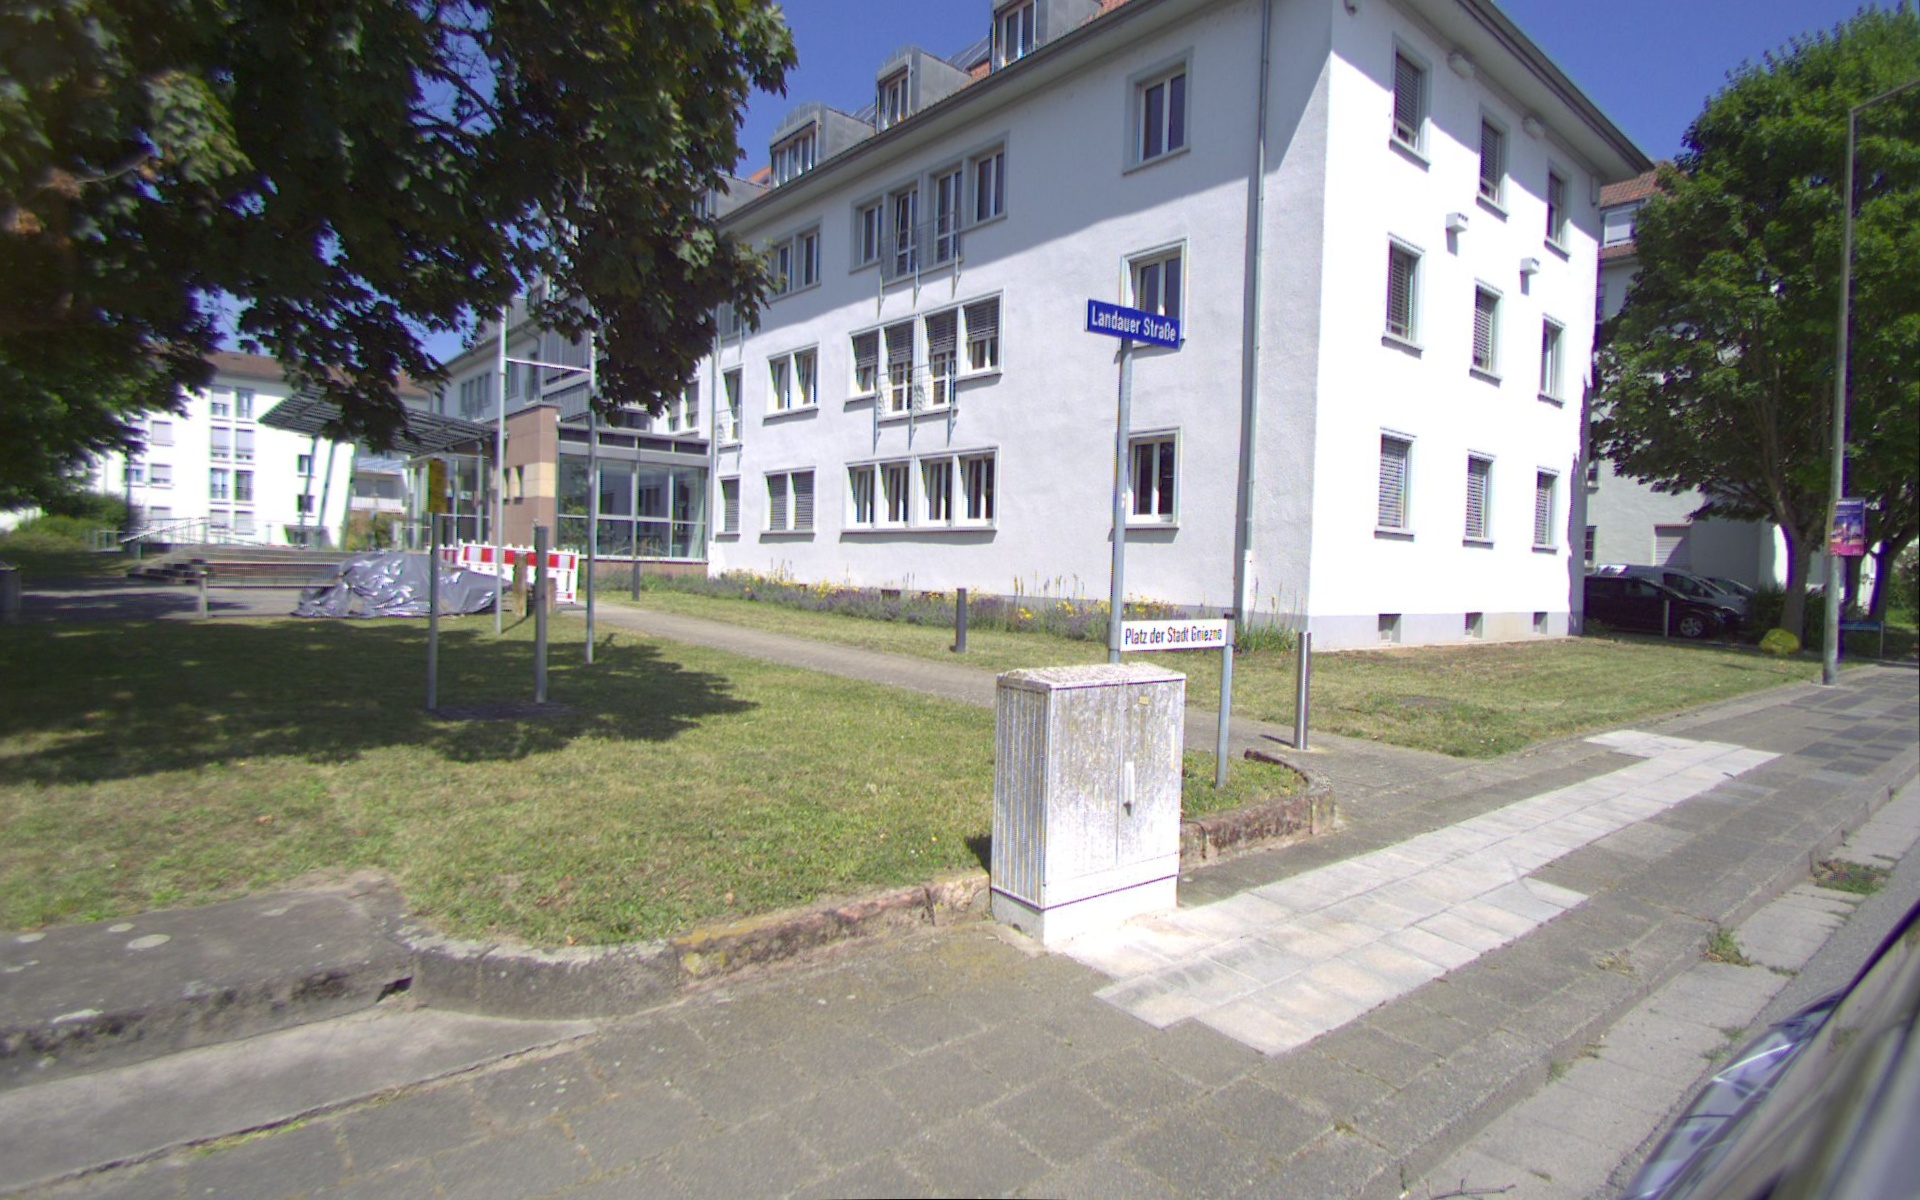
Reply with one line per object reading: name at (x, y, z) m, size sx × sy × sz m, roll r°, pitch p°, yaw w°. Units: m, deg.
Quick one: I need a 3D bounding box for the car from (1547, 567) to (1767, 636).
car at (18.142, -0.023, 26.498) m, size 1.966 × 1.452 × 4.364 m, roll 0°, pitch 4°, yaw -42°

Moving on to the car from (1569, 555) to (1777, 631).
car at (19.926, -0.260, 28.427) m, size 1.966 × 1.808 × 4.364 m, roll 0°, pitch 4°, yaw -42°

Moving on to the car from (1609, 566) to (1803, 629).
car at (22.508, -0.123, 30.661) m, size 1.966 × 1.544 × 4.364 m, roll 0°, pitch 4°, yaw -42°
